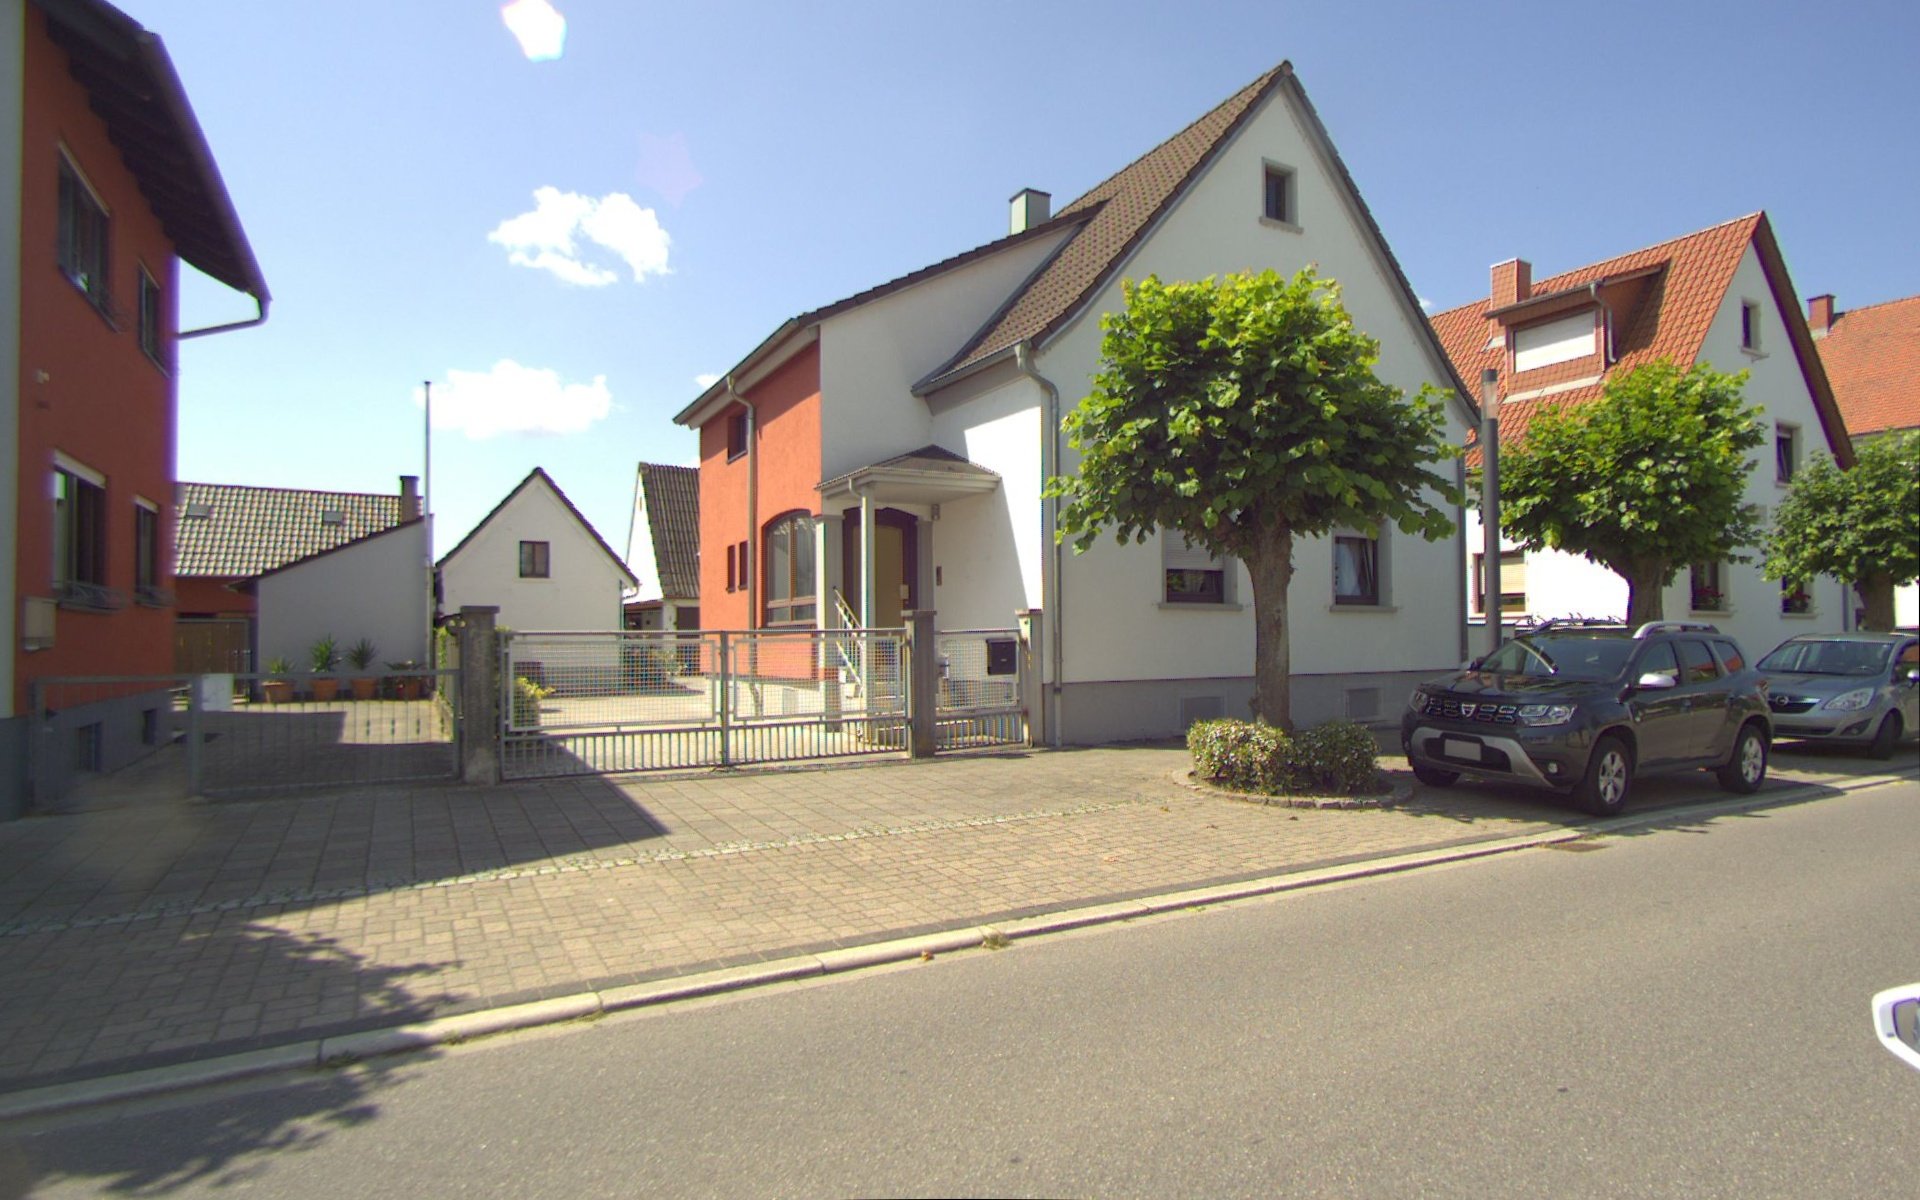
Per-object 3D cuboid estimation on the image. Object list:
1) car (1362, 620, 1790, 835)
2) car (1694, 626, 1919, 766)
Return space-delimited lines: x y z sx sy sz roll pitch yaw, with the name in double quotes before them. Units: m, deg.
"car" 6.150 1.060 9.934 4.248 1.658 1.844 0 0 -30
"car" 12.333 1.227 13.985 4.320 1.634 1.844 2 0 -31
